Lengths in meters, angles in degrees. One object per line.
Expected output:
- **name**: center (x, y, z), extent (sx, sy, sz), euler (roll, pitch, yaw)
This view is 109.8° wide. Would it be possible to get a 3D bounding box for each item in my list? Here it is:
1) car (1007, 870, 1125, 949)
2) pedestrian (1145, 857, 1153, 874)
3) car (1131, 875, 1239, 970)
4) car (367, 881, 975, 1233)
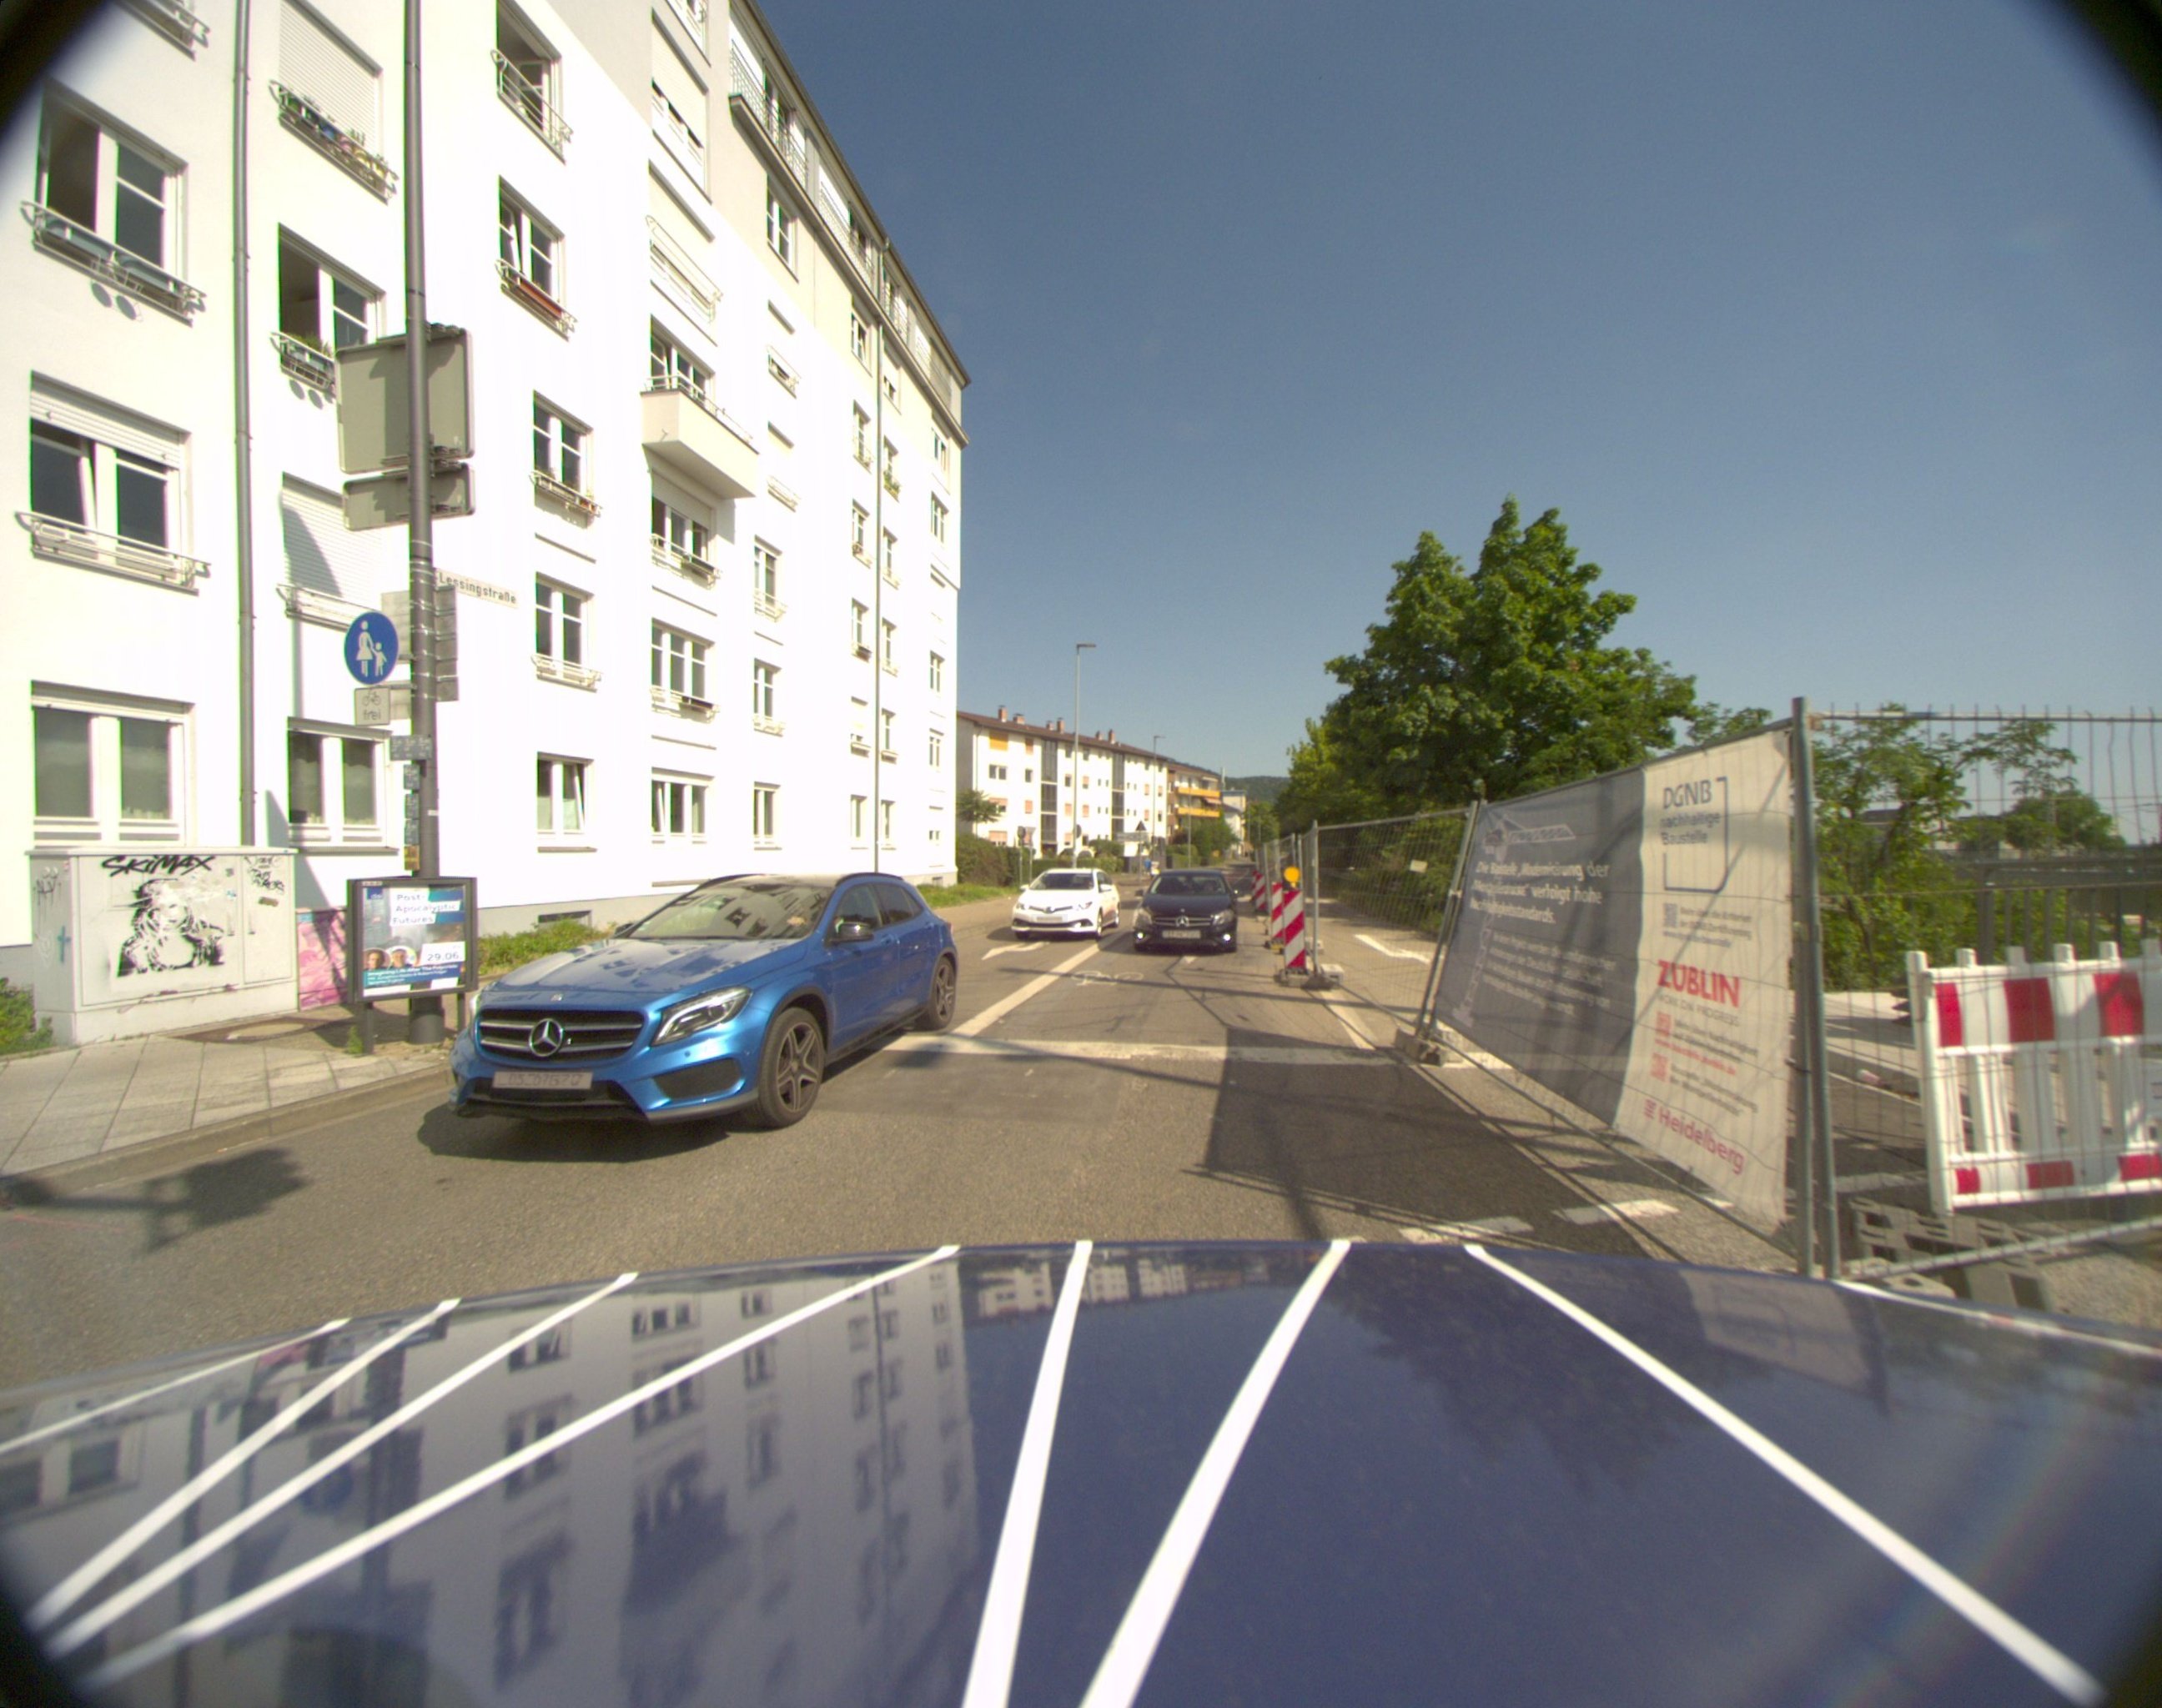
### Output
- **car**: center (-0.169, 1.099, 16.619), extent (1.699, 1.403, 4.490), euler (-1, 0, 10)
- **pedestrian**: center (6.117, 1.011, 68.221), extent (0.607, 1.500, 0.771), euler (0, 2, 15)
- **car**: center (2.074, 1.148, 14.421), extent (1.701, 1.400, 4.626), euler (0, 0, 10)
- **car**: center (-2.299, 1.021, 5.840), extent (1.674, 1.472, 4.554), euler (-1, 0, 9)
